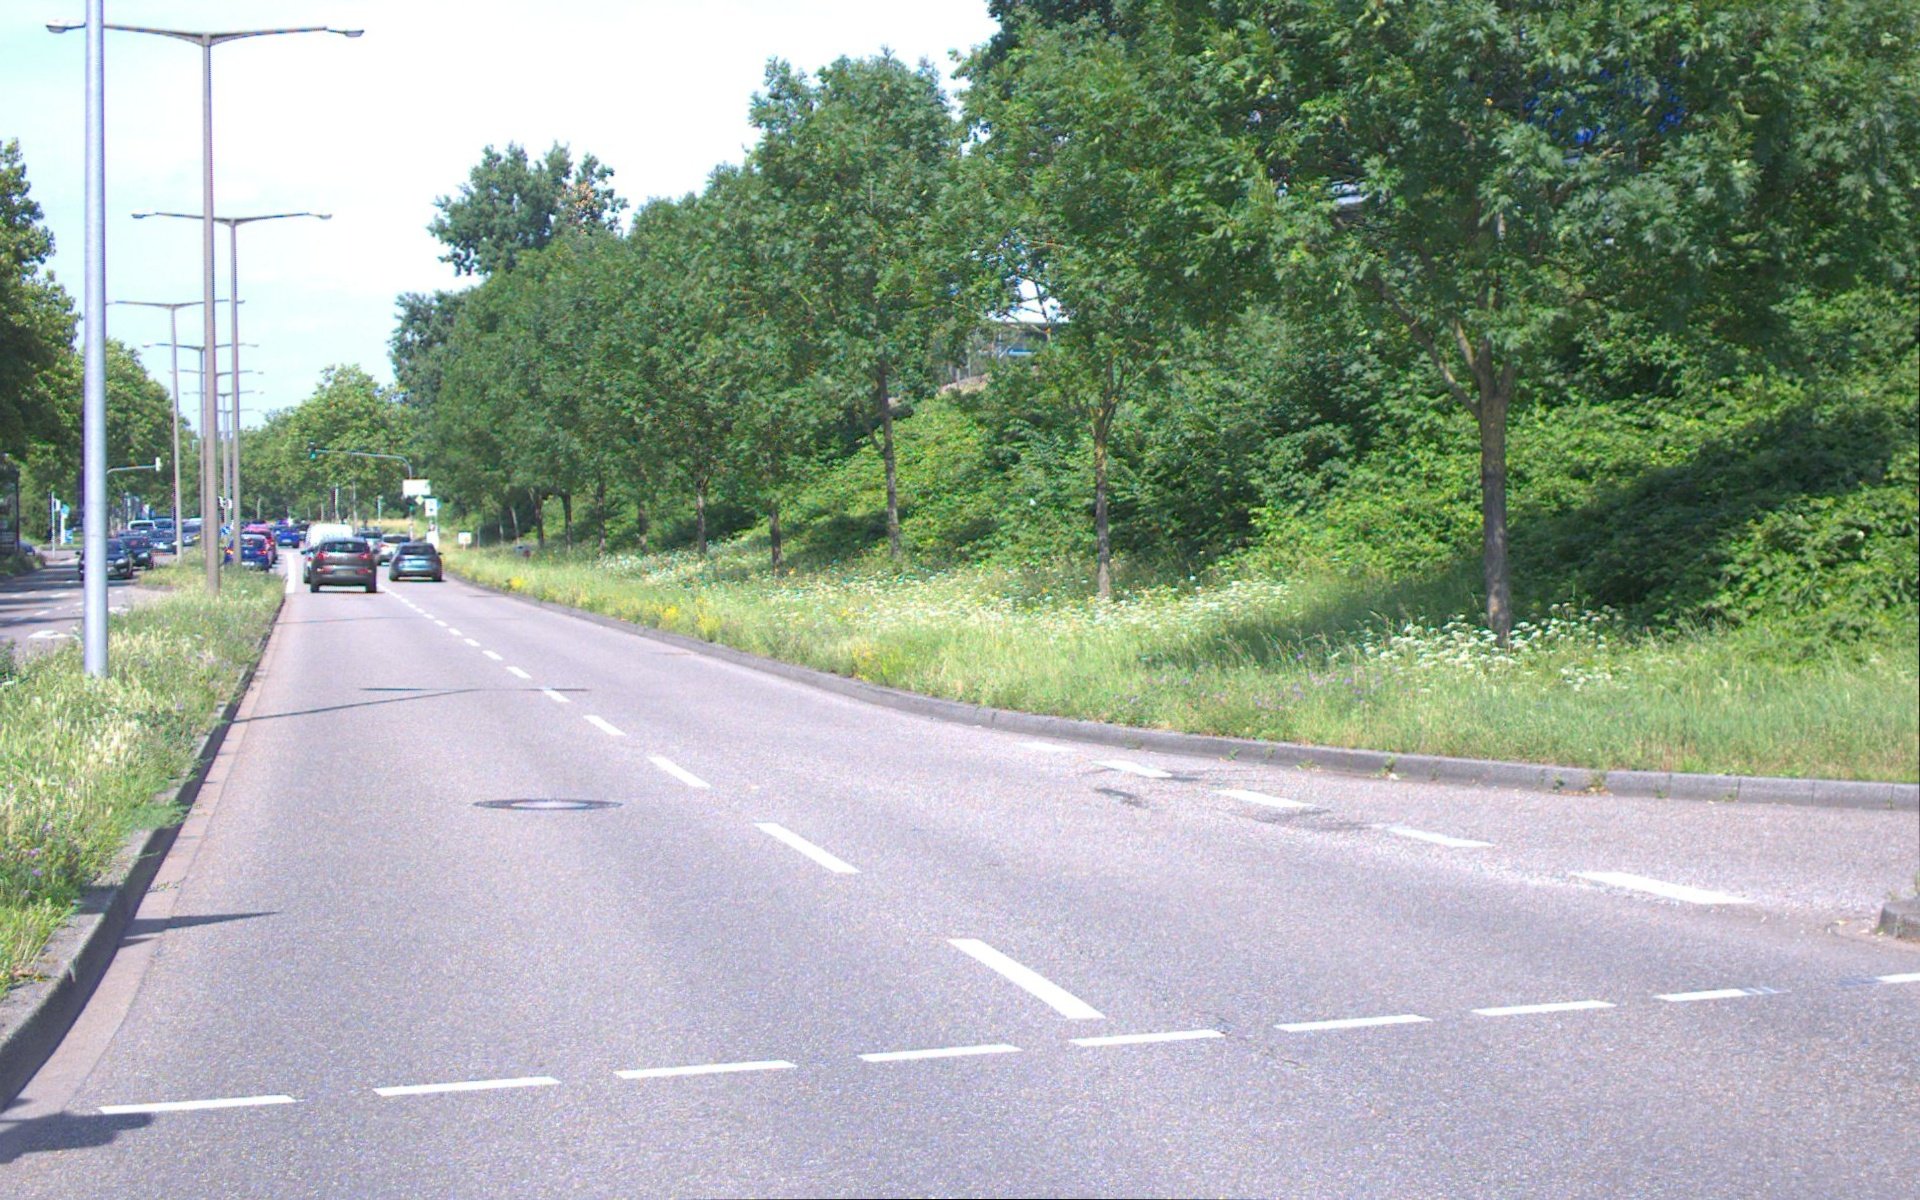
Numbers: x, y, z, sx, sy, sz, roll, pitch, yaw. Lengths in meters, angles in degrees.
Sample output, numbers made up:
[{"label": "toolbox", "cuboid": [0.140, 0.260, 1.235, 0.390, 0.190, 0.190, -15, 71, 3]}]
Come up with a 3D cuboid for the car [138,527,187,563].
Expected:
[{"label": "car", "cuboid": [-33.930, -2.356, 146.361, 1.772, 1.462, 4.672, -1, 1, -10]}]

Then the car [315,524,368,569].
[{"label": "car", "cuboid": [-24.396, -2.116, 135.609, 1.993, 1.702, 4.264, -1, 1, -10]}]

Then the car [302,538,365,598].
[{"label": "car", "cuboid": [-18.117, -0.943, 99.347, 1.736, 1.530, 4.002, 0, 3, -11]}]

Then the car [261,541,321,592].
[{"label": "car", "cuboid": [-23.018, -1.171, 118.336, 1.993, 1.678, 4.001, 0, 1, -11]}]

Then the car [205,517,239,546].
[{"label": "car", "cuboid": [-49.403, -4.584, 230.216, 1.993, 1.853, 4.001, -1, 1, -9]}]

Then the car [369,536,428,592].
[{"label": "car", "cuboid": [-20.388, -1.319, 124.782, 2.017, 1.831, 4.002, 0, 3, -11]}]

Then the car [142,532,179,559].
[{"label": "car", "cuboid": [-43.785, -2.980, 188.359, 1.839, 1.473, 4.167, -1, 1, -11]}]

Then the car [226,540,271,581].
[{"label": "car", "cuboid": [-26.994, -1.520, 130.483, 1.626, 1.478, 4.050, 1, 1, -11]}]

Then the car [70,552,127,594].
[{"label": "car", "cuboid": [-31.030, -0.979, 123.896, 1.826, 1.462, 4.990, -1, 1, -12]}]

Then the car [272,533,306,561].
[{"label": "car", "cuboid": [-41.093, -3.266, 210.632, 1.993, 1.656, 4.248, 0, 1, -11]}]

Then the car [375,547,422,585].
[{"label": "car", "cuboid": [-25.826, -1.577, 157.954, 1.993, 1.702, 4.264, -1, 1, -11]}]

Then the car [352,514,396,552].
[{"label": "car", "cuboid": [-31.232, -3.549, 183.071, 1.993, 2.007, 4.001, 0, 1, -14]}]
